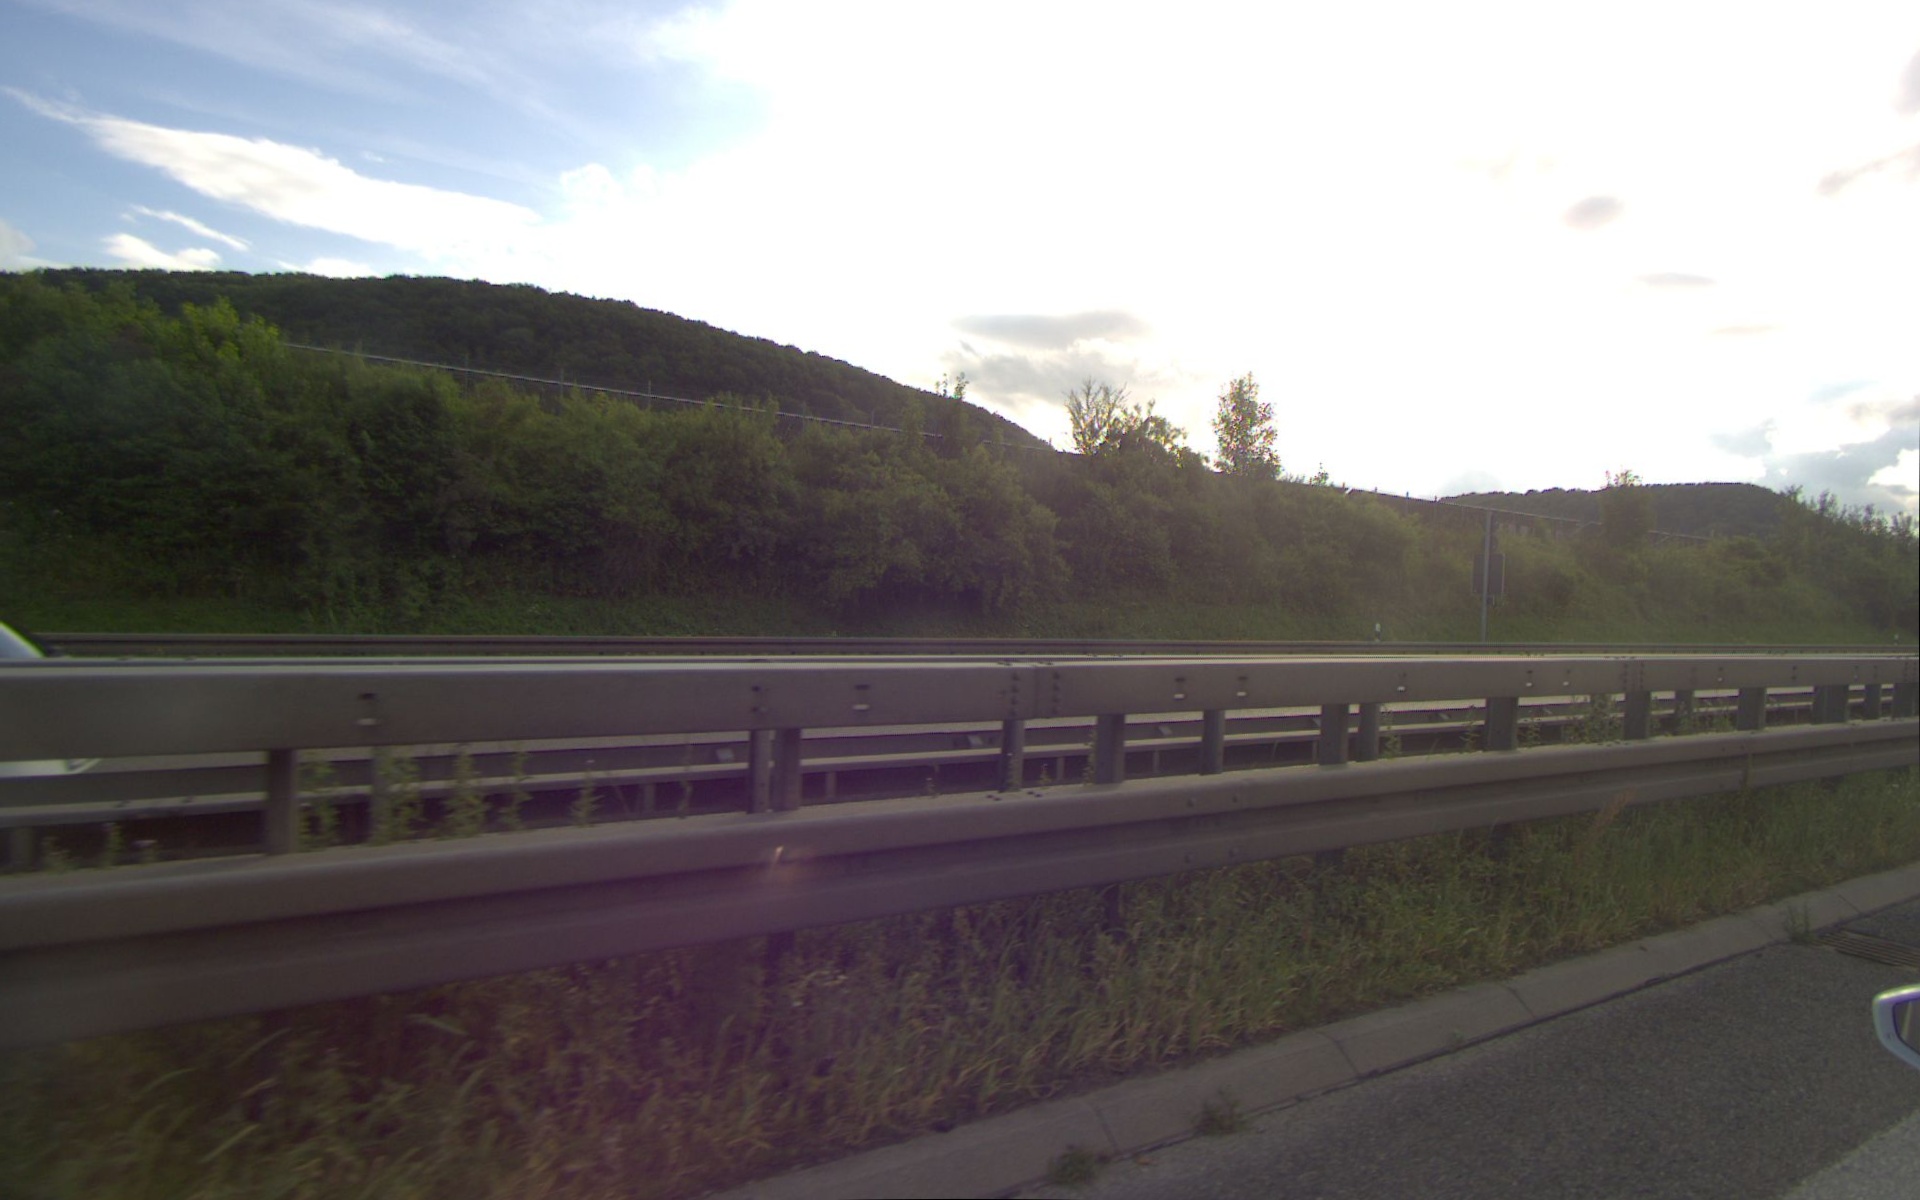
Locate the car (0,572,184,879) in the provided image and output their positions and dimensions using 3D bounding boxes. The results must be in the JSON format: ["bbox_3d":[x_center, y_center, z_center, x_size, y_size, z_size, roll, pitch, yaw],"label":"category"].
[{"bbox_3d":[-6.172,0.540,4.714,3.716,1.428,1.772,2,0,-29],"label":"car"}]
